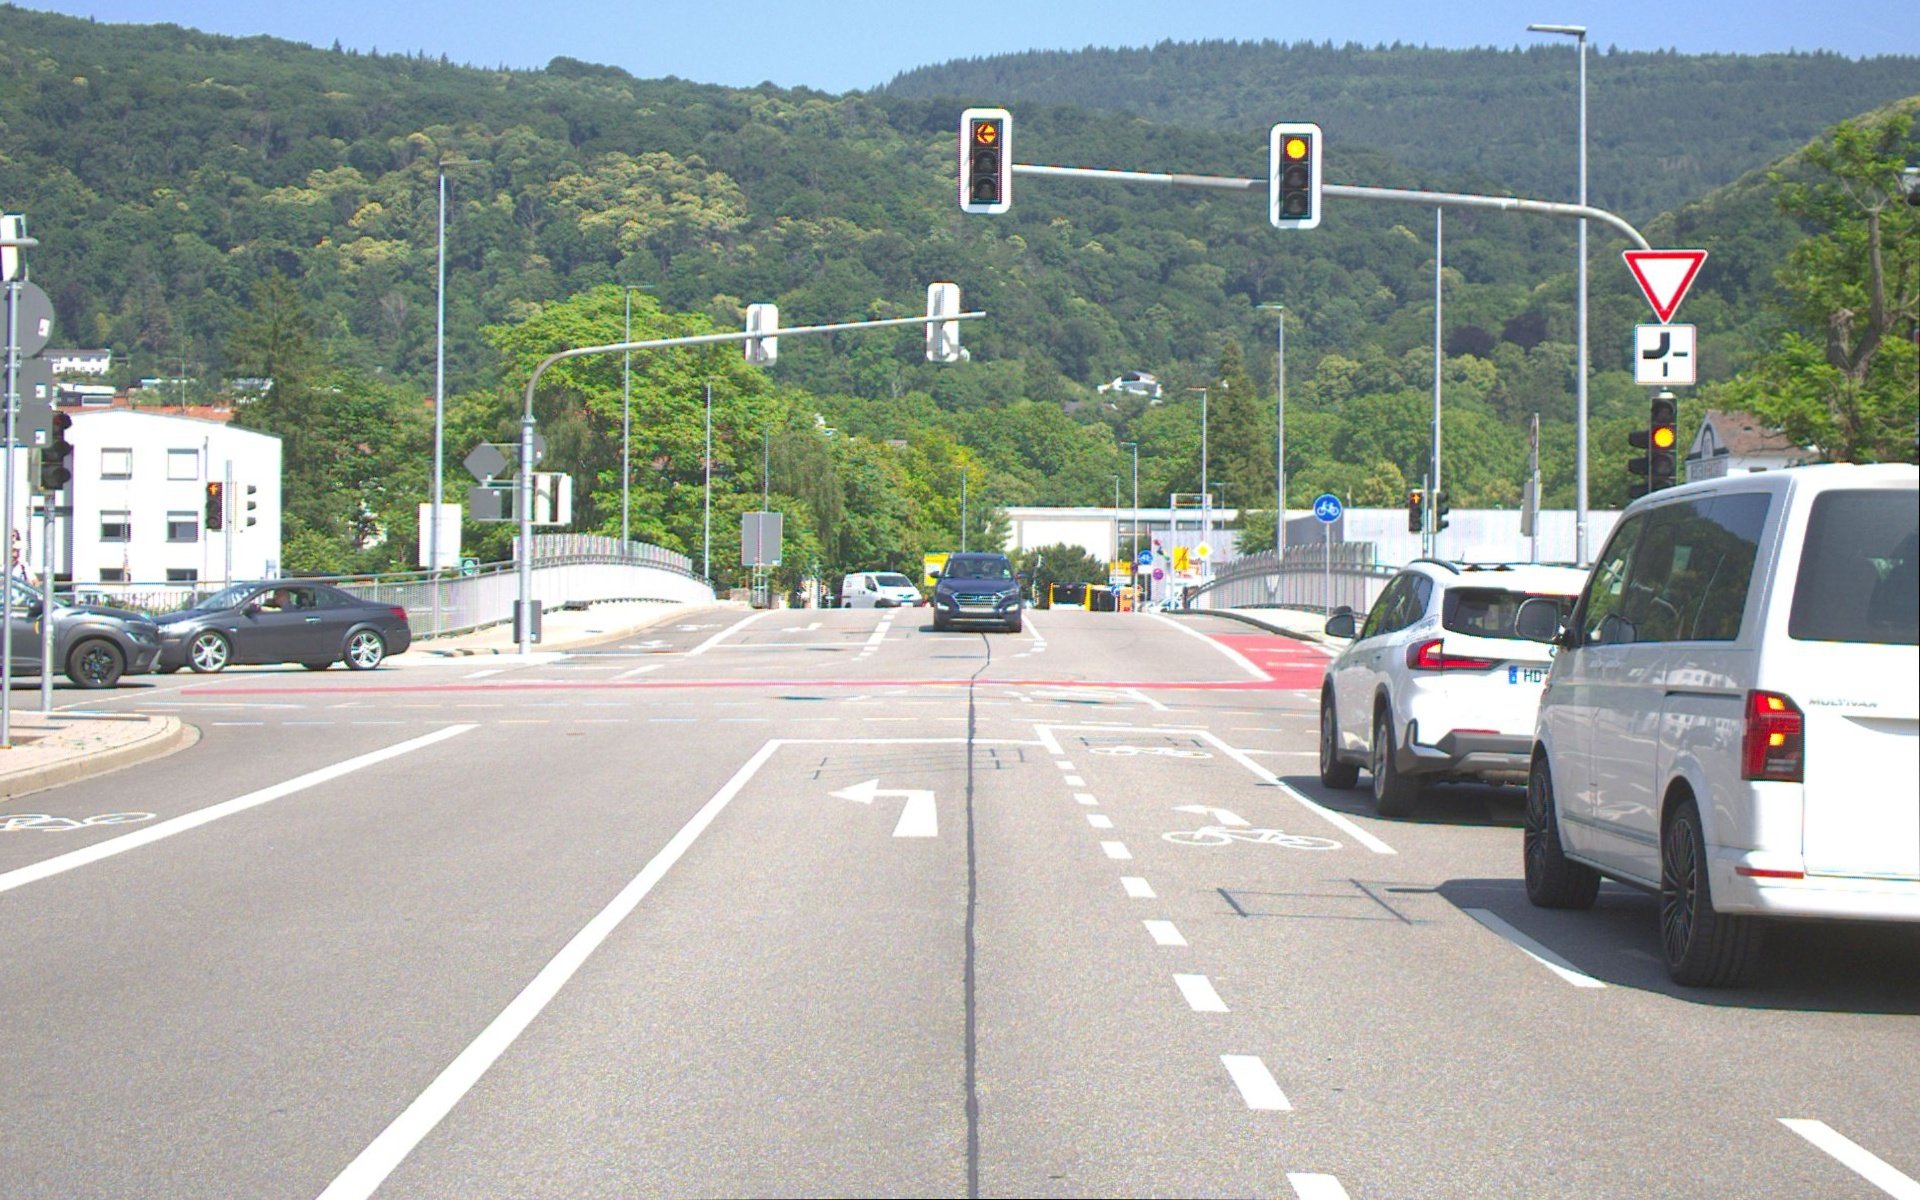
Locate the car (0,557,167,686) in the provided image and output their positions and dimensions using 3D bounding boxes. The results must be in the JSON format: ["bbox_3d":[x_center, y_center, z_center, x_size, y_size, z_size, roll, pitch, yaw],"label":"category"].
[{"bbox_3d":[-12.312,0.255,43.680,4.314,1.587,2.001,0,1,-14],"label":"car"}]

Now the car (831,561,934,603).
[{"bbox_3d":[-3.035,-0.727,134.006,1.850,1.583,4.461,0,1,-35],"label":"car"}]

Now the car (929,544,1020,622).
[{"bbox_3d":[0.309,-0.385,72.421,1.849,1.583,4.000,0,1,0],"label":"car"}]

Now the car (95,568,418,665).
[{"bbox_3d":[-10.544,0.221,51.640,4.313,1.365,2.000,0,1,-38],"label":"car"}]

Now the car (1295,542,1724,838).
[{"bbox_3d":[3.490,0.502,22.720,1.934,1.681,4.545,3,1,-1],"label":"car"}]

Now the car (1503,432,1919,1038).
[{"bbox_3d":[3.592,0.435,14.021,1.934,2.052,4.545,2,1,0],"label":"car"}]
